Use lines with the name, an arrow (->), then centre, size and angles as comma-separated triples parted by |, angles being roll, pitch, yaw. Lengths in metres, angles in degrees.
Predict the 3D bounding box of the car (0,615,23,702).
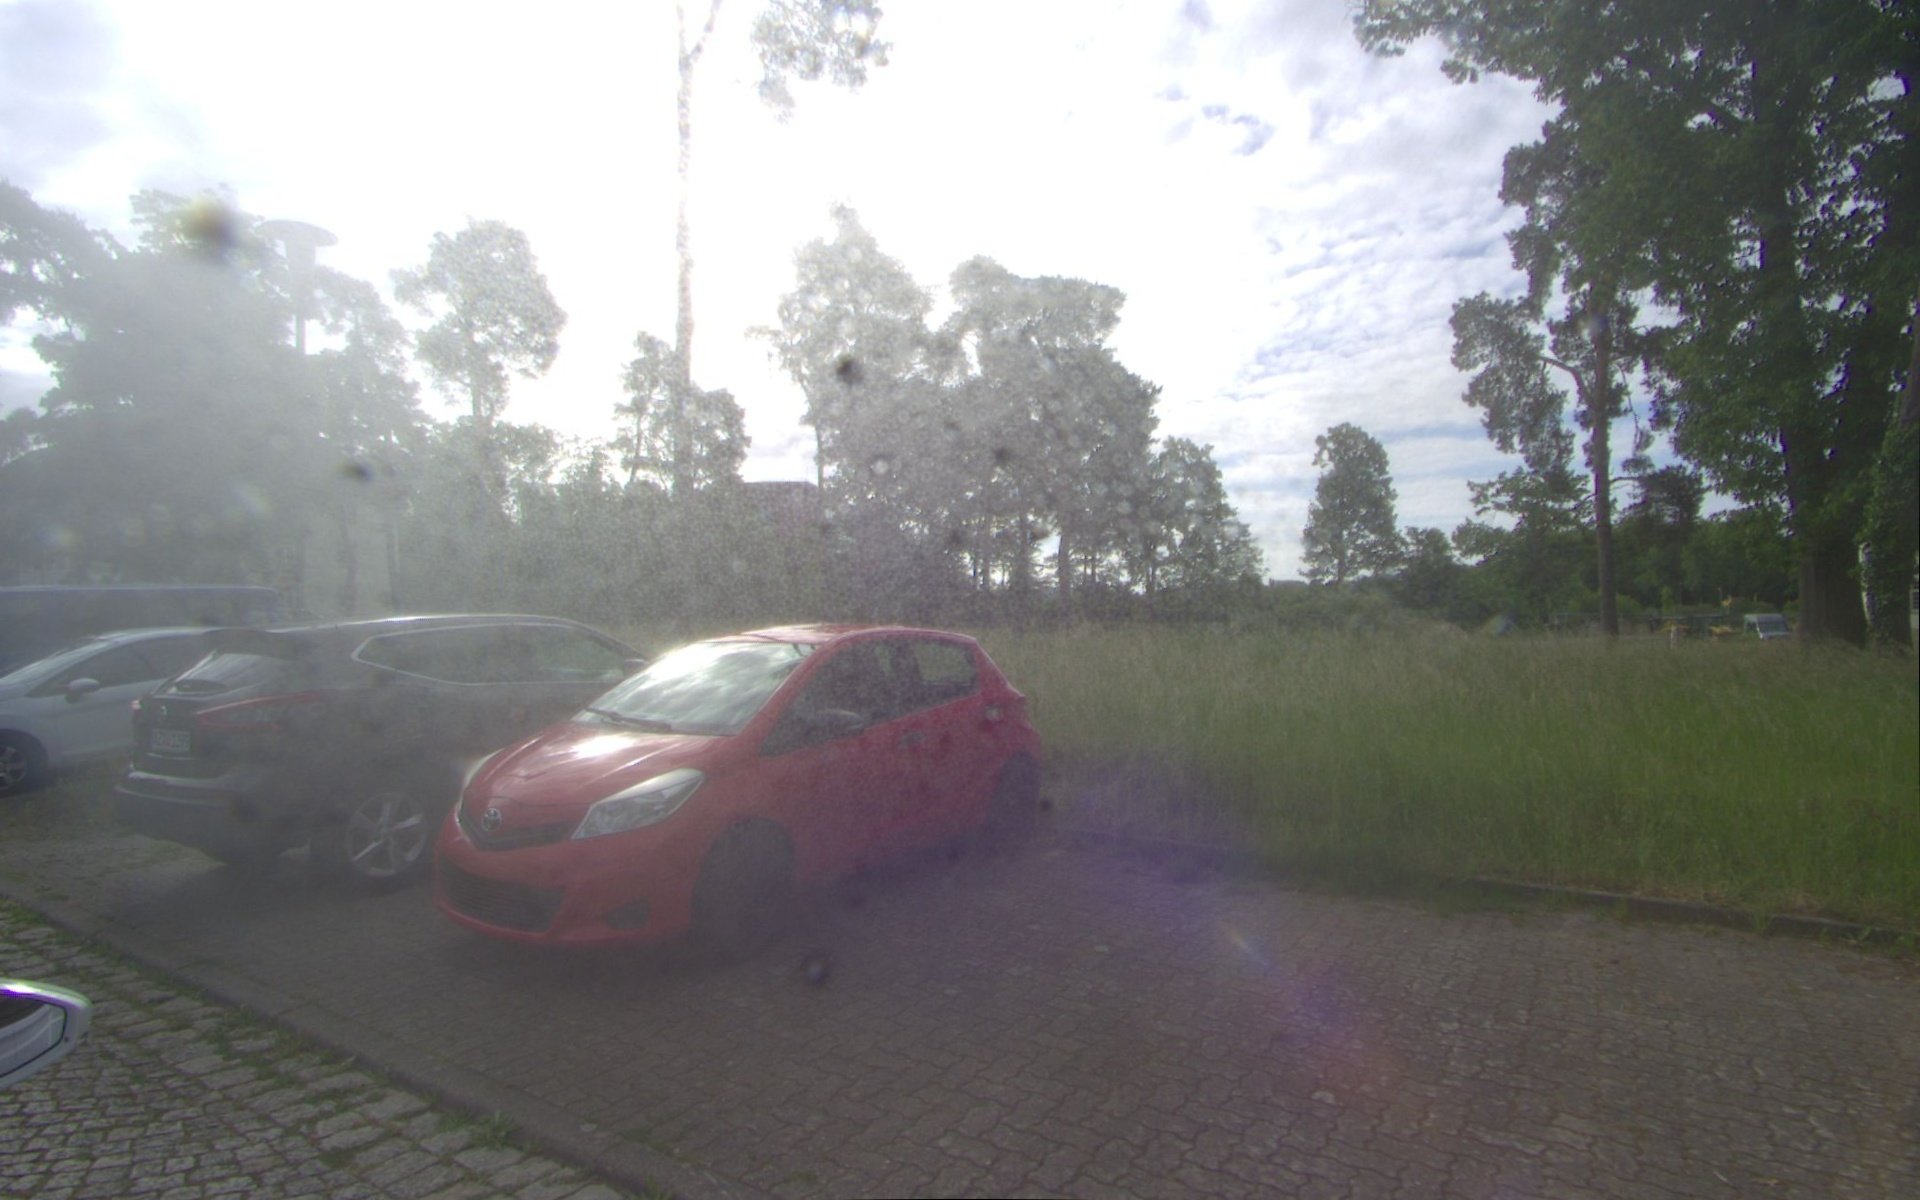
car -> -17.625, 1.005, 15.949 | 1.501, 1.469, 3.666 | -1, 0, 31

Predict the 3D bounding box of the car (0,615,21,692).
car -> -19.721, 1.028, 18.144 | 1.501, 1.469, 3.666 | -1, 0, 31

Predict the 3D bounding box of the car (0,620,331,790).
car -> -8.797, 0.976, 10.267 | 1.591, 1.469, 3.666 | -1, 0, 30

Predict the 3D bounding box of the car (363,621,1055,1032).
car -> -1.075, 0.903, 5.854 | 1.726, 1.479, 3.784 | -1, 0, 32

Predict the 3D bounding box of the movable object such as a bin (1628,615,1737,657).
movable object such as a bin -> 48.210, 2.412, 67.008 | 2.135, 2.689, 5.973 | 1, -2, -13

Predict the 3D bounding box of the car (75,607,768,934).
car -> -3.362, 0.861, 7.099 | 1.725, 1.573, 4.022 | -1, 0, 30

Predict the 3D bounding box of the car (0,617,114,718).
car -> -15.101, 1.023, 14.814 | 1.501, 1.469, 3.666 | -1, 0, 31

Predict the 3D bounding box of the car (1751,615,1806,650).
car -> 58.825, 2.340, 72.053 | 1.886, 2.378, 4.585 | 0, -2, 24

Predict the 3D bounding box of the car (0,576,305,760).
car -> -10.809, 0.747, 11.865 | 1.903, 1.980, 4.746 | -1, 0, 31
